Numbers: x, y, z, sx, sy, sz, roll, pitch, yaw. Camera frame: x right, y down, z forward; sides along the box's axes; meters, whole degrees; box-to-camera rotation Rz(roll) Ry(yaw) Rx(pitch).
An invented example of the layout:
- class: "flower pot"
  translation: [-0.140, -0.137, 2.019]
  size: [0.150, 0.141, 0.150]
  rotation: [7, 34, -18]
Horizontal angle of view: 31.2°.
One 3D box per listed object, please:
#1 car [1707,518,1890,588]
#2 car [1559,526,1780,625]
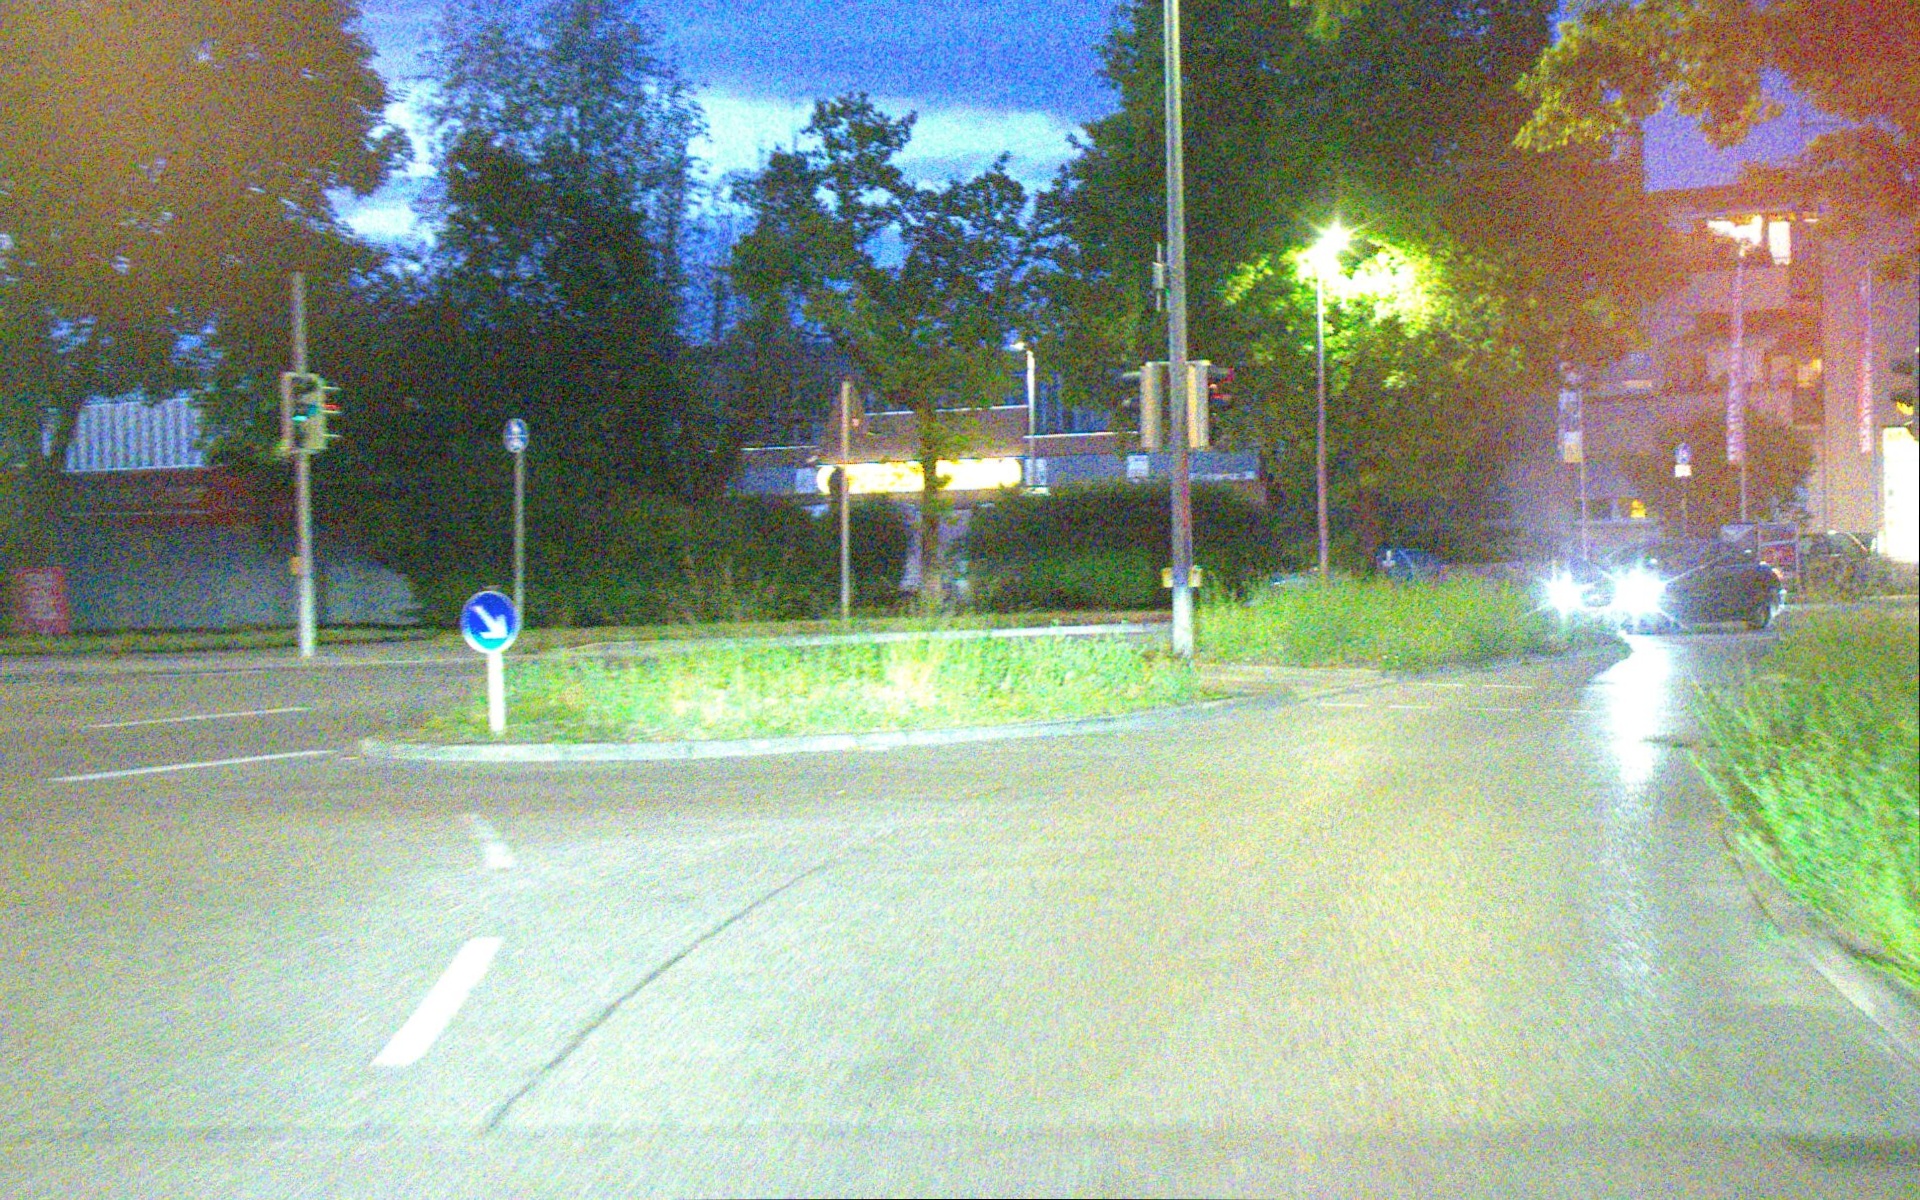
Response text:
- class: "car"
  translation: [17.814, -1.005, 73.003]
  size: [3.687, 1.415, 1.550]
  rotation: [-1, 2, -29]
- class: "car"
  translation: [10.920, -0.404, 52.709]
  size: [1.763, 1.440, 4.519]
  rotation: [0, 1, 33]
